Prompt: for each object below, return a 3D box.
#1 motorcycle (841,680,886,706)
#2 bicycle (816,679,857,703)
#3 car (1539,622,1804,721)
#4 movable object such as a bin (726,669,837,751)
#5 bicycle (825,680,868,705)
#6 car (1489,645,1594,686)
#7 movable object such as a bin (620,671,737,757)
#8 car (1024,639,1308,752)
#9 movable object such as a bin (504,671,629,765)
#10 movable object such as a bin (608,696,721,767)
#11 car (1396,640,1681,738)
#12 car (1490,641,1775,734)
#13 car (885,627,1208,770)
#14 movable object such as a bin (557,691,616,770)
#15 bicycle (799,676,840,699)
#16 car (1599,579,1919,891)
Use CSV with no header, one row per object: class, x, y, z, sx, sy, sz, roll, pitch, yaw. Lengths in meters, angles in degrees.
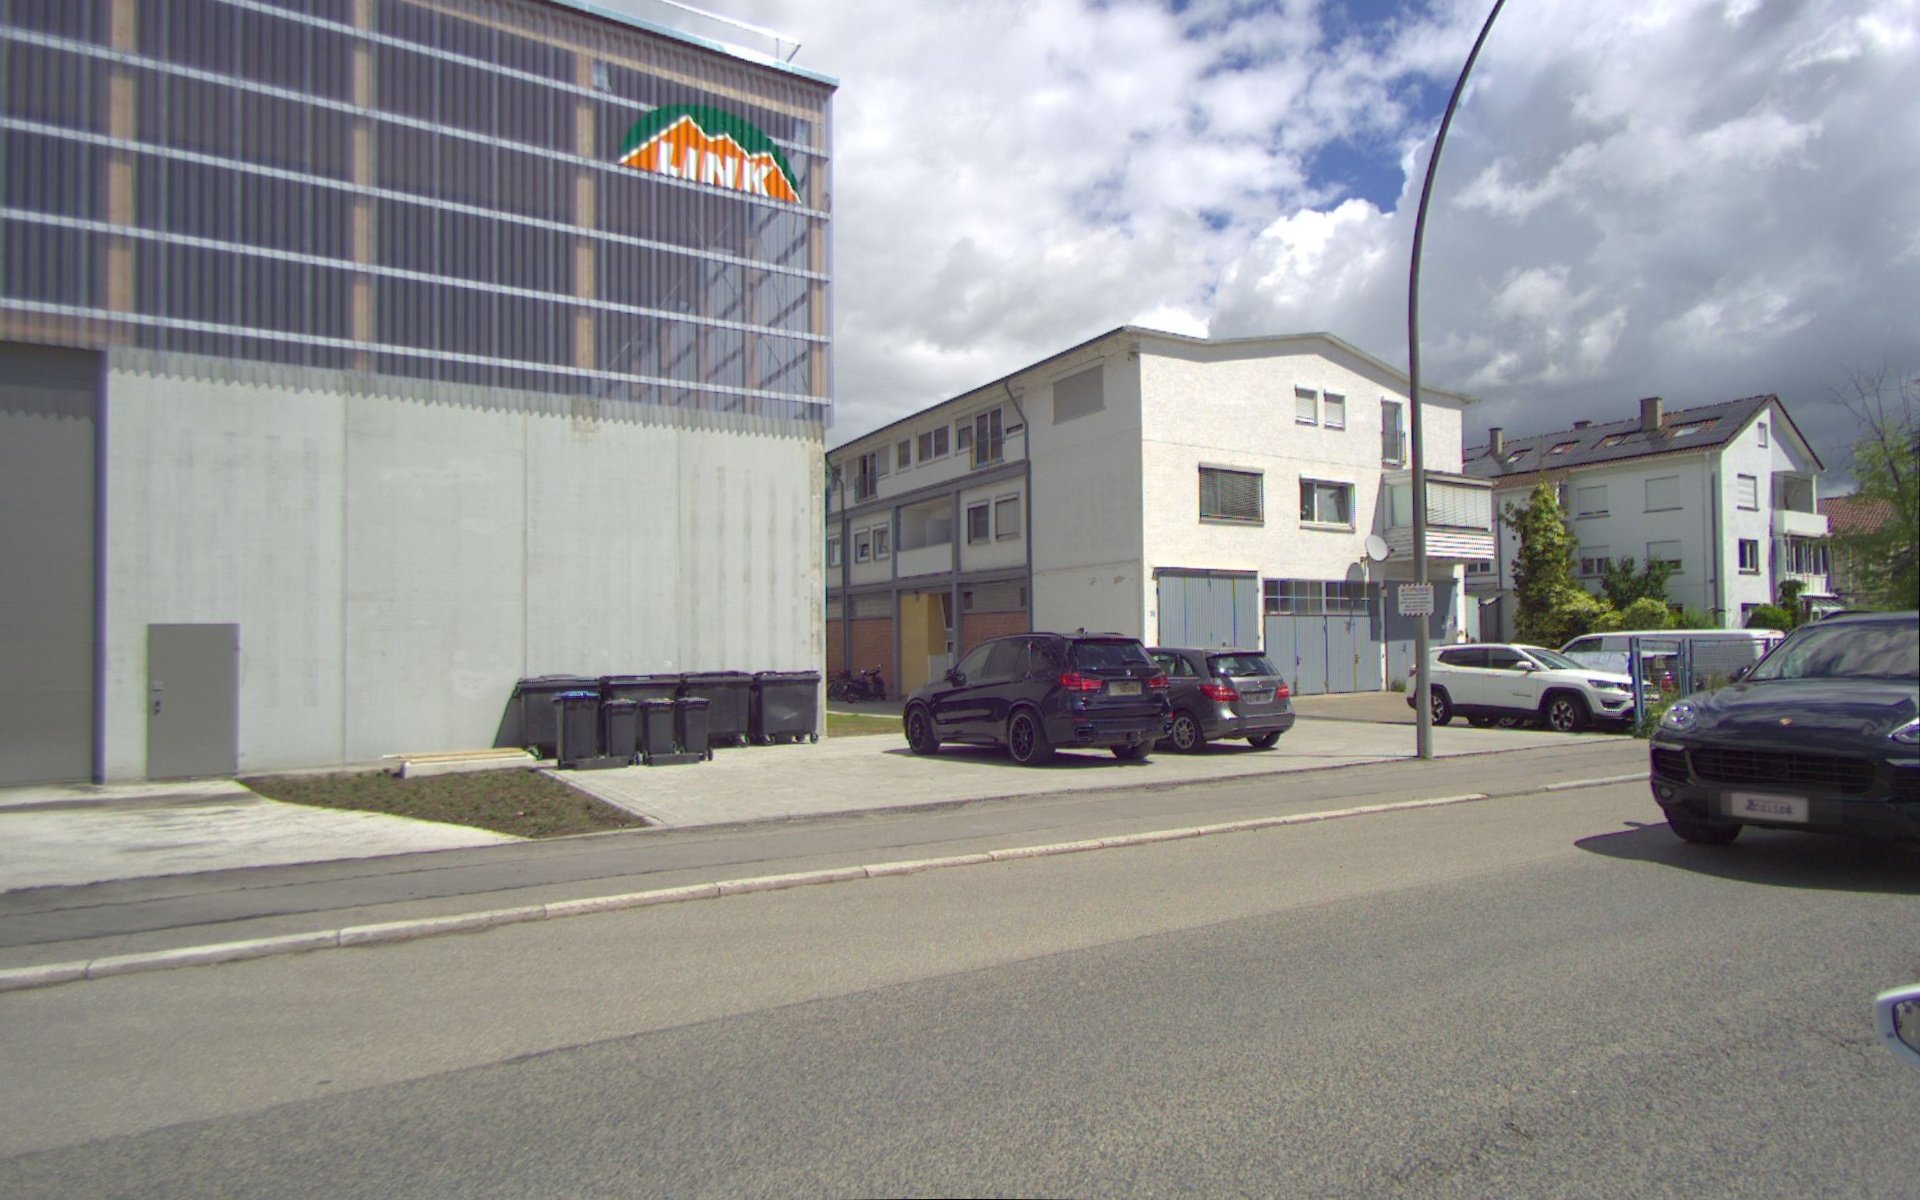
motorcycle,-3.547,3.411,37.066,1.579,0.867,0.539,1,0,-31
bicycle,-4.784,3.520,38.987,1.579,0.867,0.297,1,0,-31
car,15.160,1.508,21.645,1.969,1.859,4.259,5,-5,-30
movable object such as a bin,-3.246,1.972,18.299,1.796,1.374,0.953,1,-3,-29
bicycle,-4.333,3.527,38.344,1.579,0.867,0.392,1,0,-31
car,24.219,2.682,41.799,4.328,1.564,1.983,1,-3,-32
movable object such as a bin,-4.864,1.937,17.387,1.796,1.374,0.953,1,-3,-29
car,3.071,1.504,15.972,1.806,1.524,4.438,1,-5,-33
movable object such as a bin,-6.444,1.892,16.462,1.796,1.374,0.953,1,0,-29
movable object such as a bin,-4.403,1.937,14.963,1.500,0.931,0.740,1,-3,-29
car,10.702,1.622,18.902,1.968,1.586,4.261,5,-5,-29
car,13.046,1.661,19.769,1.969,1.586,4.259,5,-5,-30
car,1.000,1.359,14.197,2.174,1.653,4.602,1,-5,-33
movable object such as a bin,-5.361,1.854,14.413,0.703,1.044,0.740,1,-3,-28
bicycle,-5.618,3.505,40.262,1.579,0.867,0.444,1,0,-31
car,7.040,0.836,7.418,4.492,1.756,1.986,1,-3,-29
